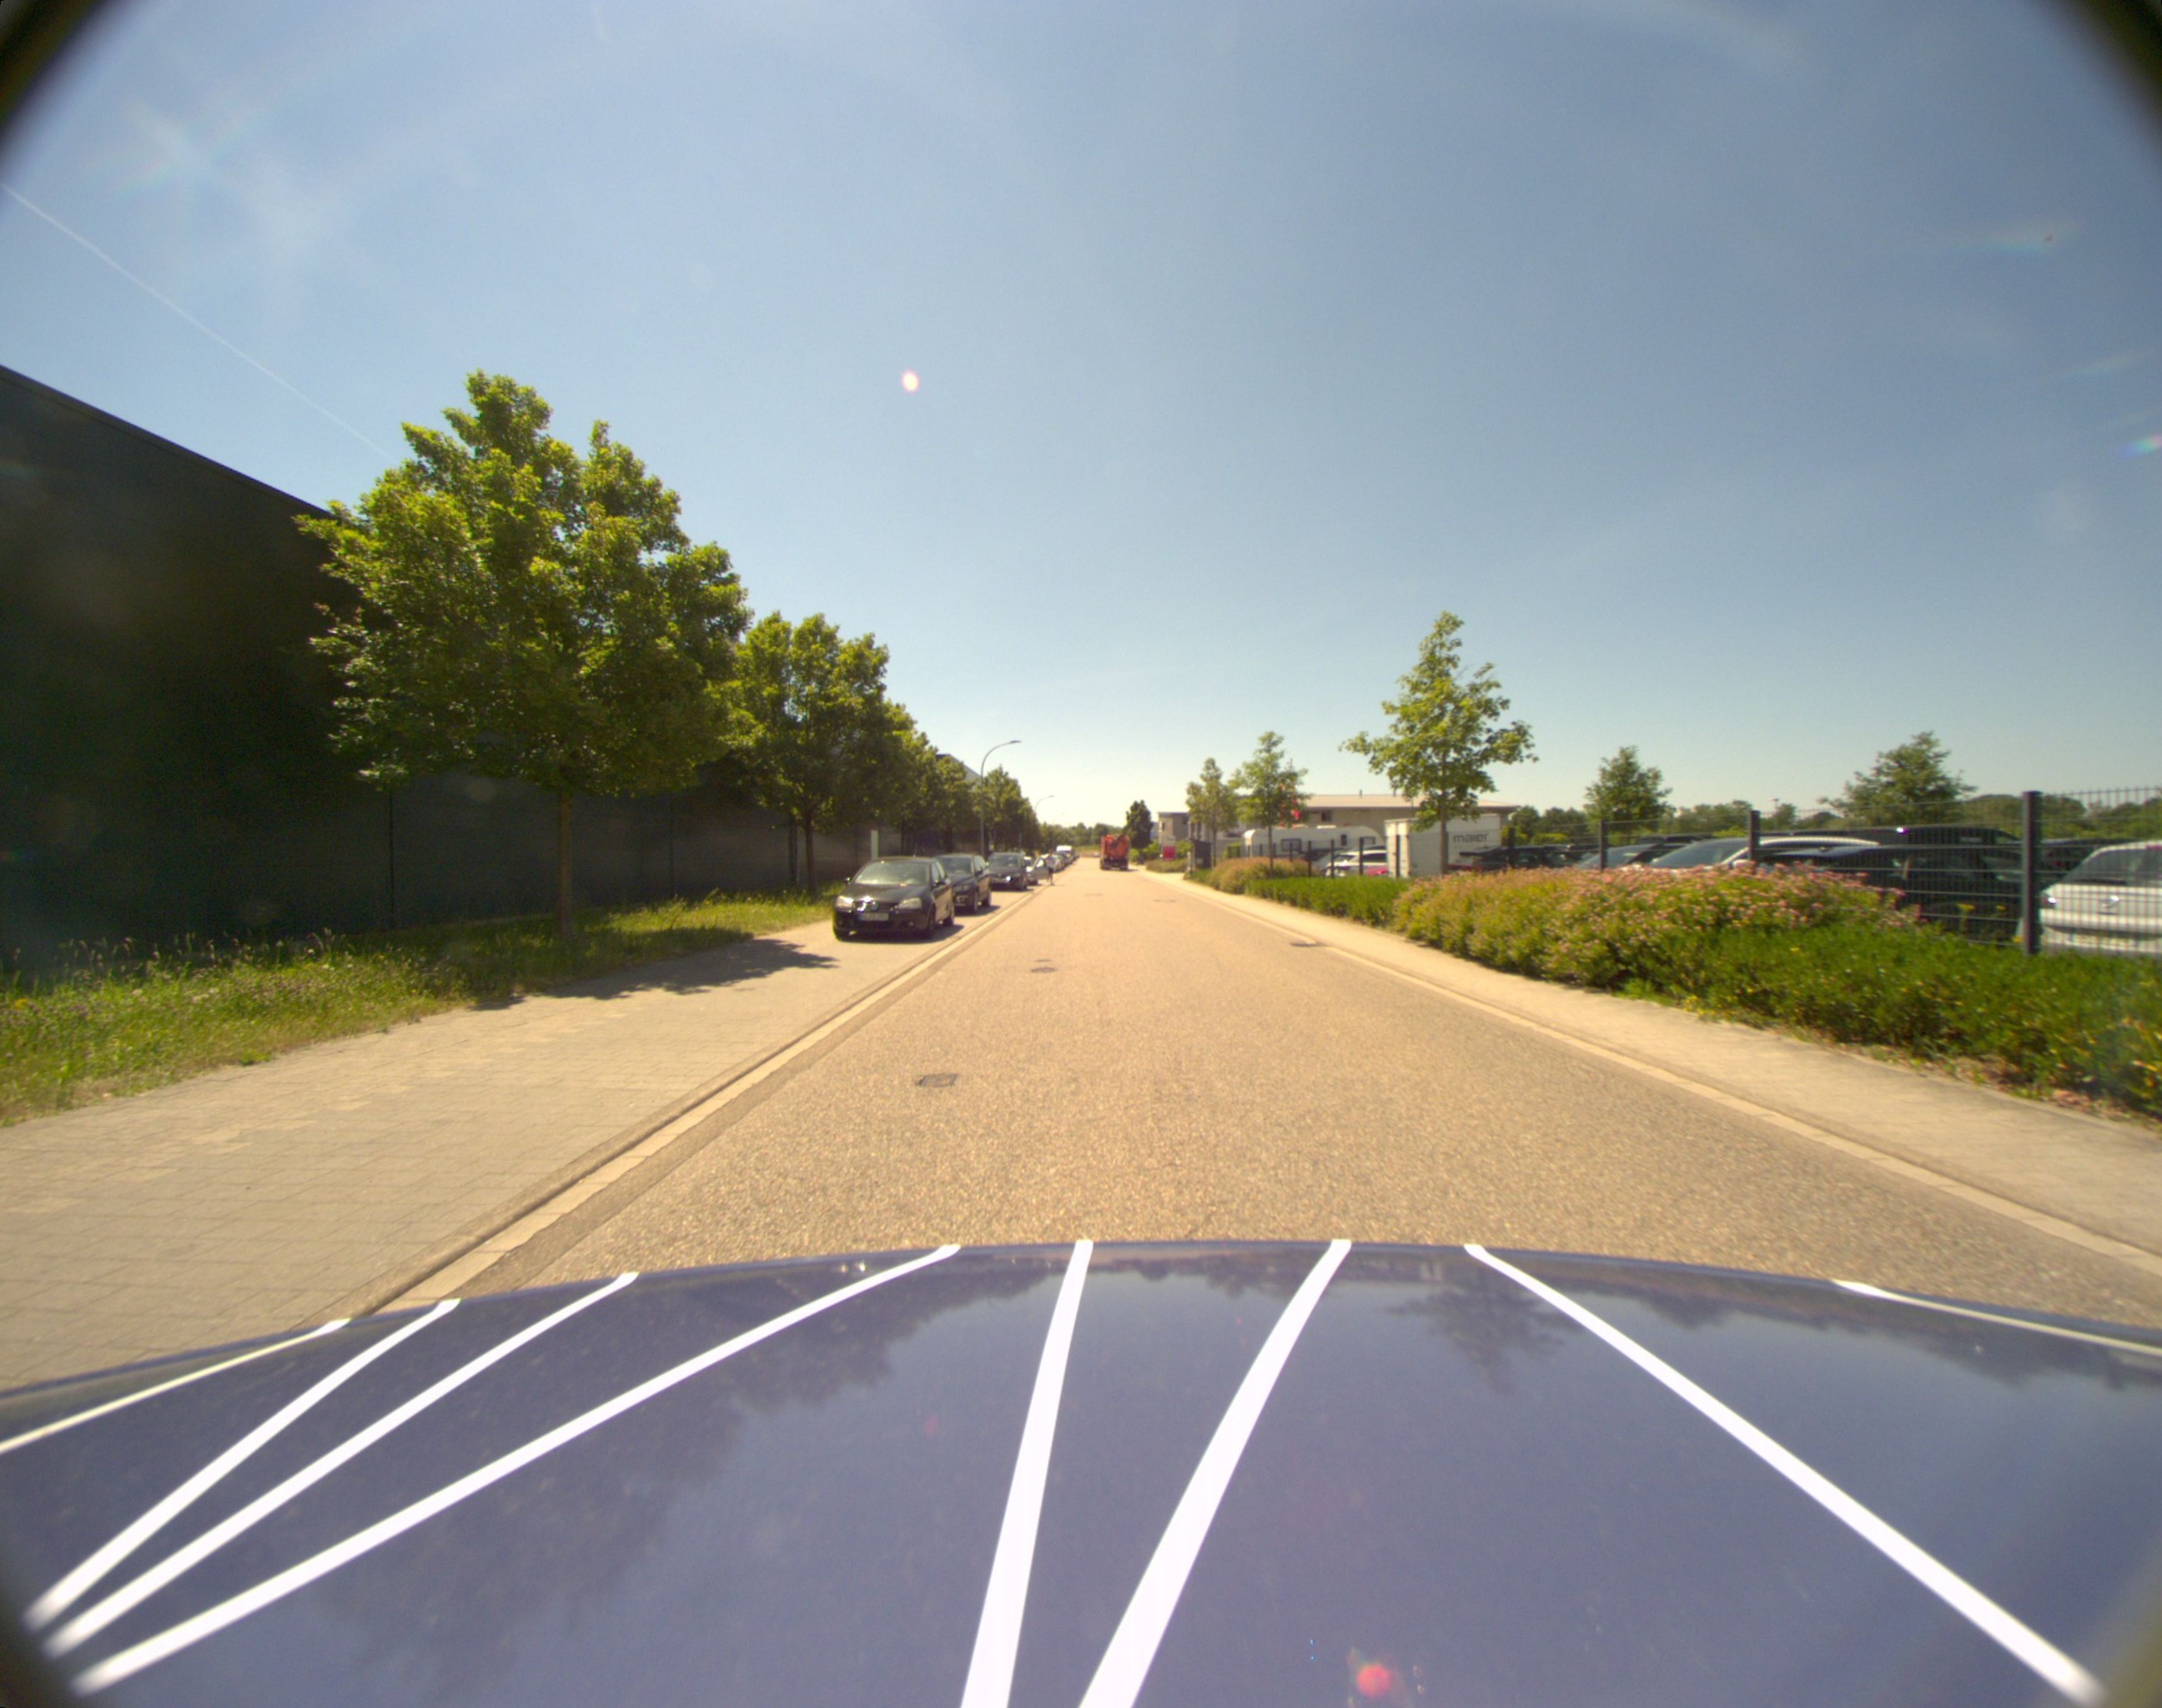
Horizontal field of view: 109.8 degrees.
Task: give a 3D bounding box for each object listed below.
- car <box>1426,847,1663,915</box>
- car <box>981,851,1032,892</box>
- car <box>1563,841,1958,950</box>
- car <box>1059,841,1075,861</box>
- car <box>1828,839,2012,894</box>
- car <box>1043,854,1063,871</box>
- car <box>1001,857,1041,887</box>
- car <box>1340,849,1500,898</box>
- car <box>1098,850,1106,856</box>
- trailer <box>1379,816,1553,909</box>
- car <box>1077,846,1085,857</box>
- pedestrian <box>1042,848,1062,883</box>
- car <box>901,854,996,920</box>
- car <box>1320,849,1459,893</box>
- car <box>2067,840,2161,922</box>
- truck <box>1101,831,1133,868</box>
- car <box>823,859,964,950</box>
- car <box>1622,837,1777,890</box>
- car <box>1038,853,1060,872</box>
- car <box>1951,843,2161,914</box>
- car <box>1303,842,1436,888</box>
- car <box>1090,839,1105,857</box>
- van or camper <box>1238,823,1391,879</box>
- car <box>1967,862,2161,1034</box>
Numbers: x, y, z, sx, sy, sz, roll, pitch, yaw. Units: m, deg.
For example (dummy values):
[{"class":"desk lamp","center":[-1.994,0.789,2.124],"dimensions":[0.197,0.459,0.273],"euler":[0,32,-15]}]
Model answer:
[{"class":"car","center":[11.184,0.623,18.597],"dimensions":[4.558,1.526,2.000],"euler":[-1,0,1]},{"class":"car","center":[-3.179,0.707,33.041],"dimensions":[1.742,1.660,4.367],"euler":[1,0,0]},{"class":"car","center":[11.038,0.632,12.651],"dimensions":[4.744,1.619,2.000],"euler":[-1,0,1]},{"class":"car","center":[-1.876,-0.458,104.802],"dimensions":[2.060,2.682,4.834],"euler":[0,0,0]},{"class":"car","center":[21.131,0.294,19.218],"dimensions":[3.018,1.286,1.494],"euler":[-1,1,0]},{"class":"car","center":[-2.550,0.740,70.015],"dimensions":[1.736,1.501,3.844],"euler":[0,0,0]},{"class":"car","center":[-3.039,0.884,39.297],"dimensions":[1.711,1.449,4.189],"euler":[1,0,0]},{"class":"car","center":[10.726,0.587,24.247],"dimensions":[4.217,1.443,2.000],"euler":[-1,0,-1]},{"class":"car","center":[5.568,-0.261,198.816],"dimensions":[1.868,1.674,4.222],"euler":[0,0,-2]},{"class":"trailer","center":[10.741,0.217,21.366],"dimensions":[3.998,2.346,1.726],"euler":[-2,1,-2]},{"class":"car","center":[-0.008,-0.531,181.956],"dimensions":[2.060,2.682,4.834],"euler":[0,0,0]},{"class":"pedestrian","center":[-1.529,0.610,39.989],"dimensions":[0.703,1.799,0.722],"euler":[0,1,34]},{"class":"car","center":[-3.544,0.816,21.188],"dimensions":[1.812,1.608,4.714],"euler":[1,0,0]},{"class":"car","center":[10.882,0.568,26.994],"dimensions":[4.218,1.443,1.777],"euler":[-1,0,-2]},{"class":"car","center":[21.800,0.468,14.344],"dimensions":[3.997,1.477,1.862],"euler":[-1,0,-1]},{"class":"truck","center":[3.519,-0.434,76.715],"dimensions":[2.606,3.524,10.500],"euler":[1,0,0]},{"class":"car","center":[-3.512,0.877,15.005],"dimensions":[1.696,1.468,4.268],"euler":[1,0,0]},{"class":"car","center":[22.174,0.324,27.362],"dimensions":[3.997,1.761,2.000],"euler":[-1,0,-1]},{"class":"car","center":[-2.704,0.719,64.983],"dimensions":[1.736,1.501,3.665],"euler":[1,0,0]},{"class":"car","center":[21.297,0.499,16.332],"dimensions":[3.480,1.406,1.477],"euler":[-1,1,0]},{"class":"car","center":[11.230,0.410,29.713],"dimensions":[4.522,1.656,1.776],"euler":[-1,0,-5]},{"class":"car","center":[3.035,-1.041,137.232],"dimensions":[2.600,3.213,6.222],"euler":[0,0,1]},{"class":"van or camper","center":[11.427,-0.146,37.560],"dimensions":[6.792,2.668,2.575],"euler":[0,0,1]},{"class":"car","center":[11.451,0.845,7.423],"dimensions":[3.379,1.490,1.904],"euler":[-1,1,0]}]
